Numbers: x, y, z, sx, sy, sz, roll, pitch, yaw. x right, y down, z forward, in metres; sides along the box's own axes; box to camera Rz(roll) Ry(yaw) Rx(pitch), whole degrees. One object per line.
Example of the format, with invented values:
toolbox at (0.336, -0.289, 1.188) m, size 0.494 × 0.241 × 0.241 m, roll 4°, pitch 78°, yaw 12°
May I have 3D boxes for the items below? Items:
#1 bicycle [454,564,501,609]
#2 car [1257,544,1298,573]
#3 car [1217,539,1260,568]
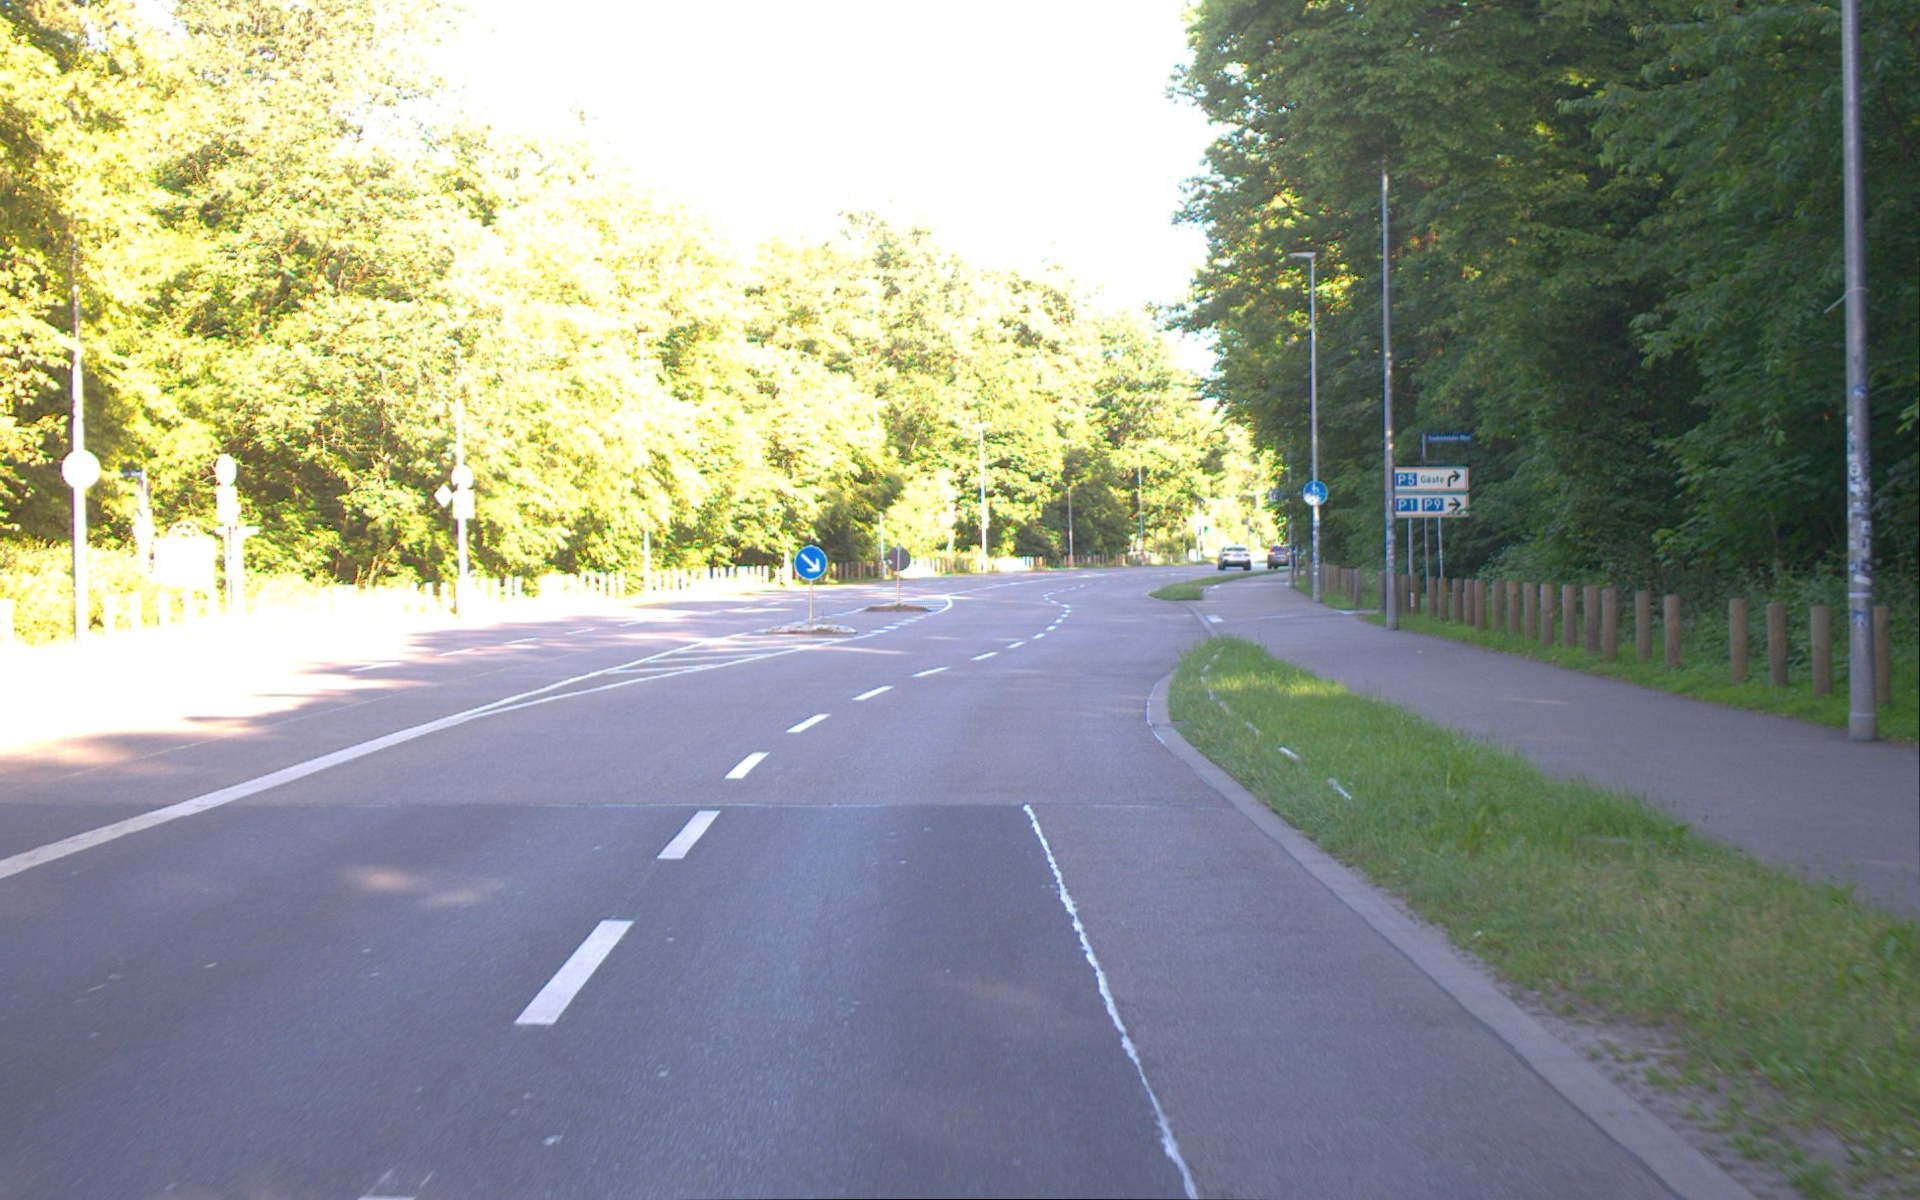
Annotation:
bicycle at (-12.303, -0.359, 87.662) m, size 0.401 × 1.128 × 2.218 m, roll 1°, pitch 1°, yaw 13°
car at (20.463, -2.681, 221.440) m, size 1.881 × 1.759 × 3.997 m, roll -1°, pitch 1°, yaw 16°
car at (17.185, -2.892, 212.110) m, size 1.881 × 1.703 × 3.997 m, roll -1°, pitch 1°, yaw 16°
